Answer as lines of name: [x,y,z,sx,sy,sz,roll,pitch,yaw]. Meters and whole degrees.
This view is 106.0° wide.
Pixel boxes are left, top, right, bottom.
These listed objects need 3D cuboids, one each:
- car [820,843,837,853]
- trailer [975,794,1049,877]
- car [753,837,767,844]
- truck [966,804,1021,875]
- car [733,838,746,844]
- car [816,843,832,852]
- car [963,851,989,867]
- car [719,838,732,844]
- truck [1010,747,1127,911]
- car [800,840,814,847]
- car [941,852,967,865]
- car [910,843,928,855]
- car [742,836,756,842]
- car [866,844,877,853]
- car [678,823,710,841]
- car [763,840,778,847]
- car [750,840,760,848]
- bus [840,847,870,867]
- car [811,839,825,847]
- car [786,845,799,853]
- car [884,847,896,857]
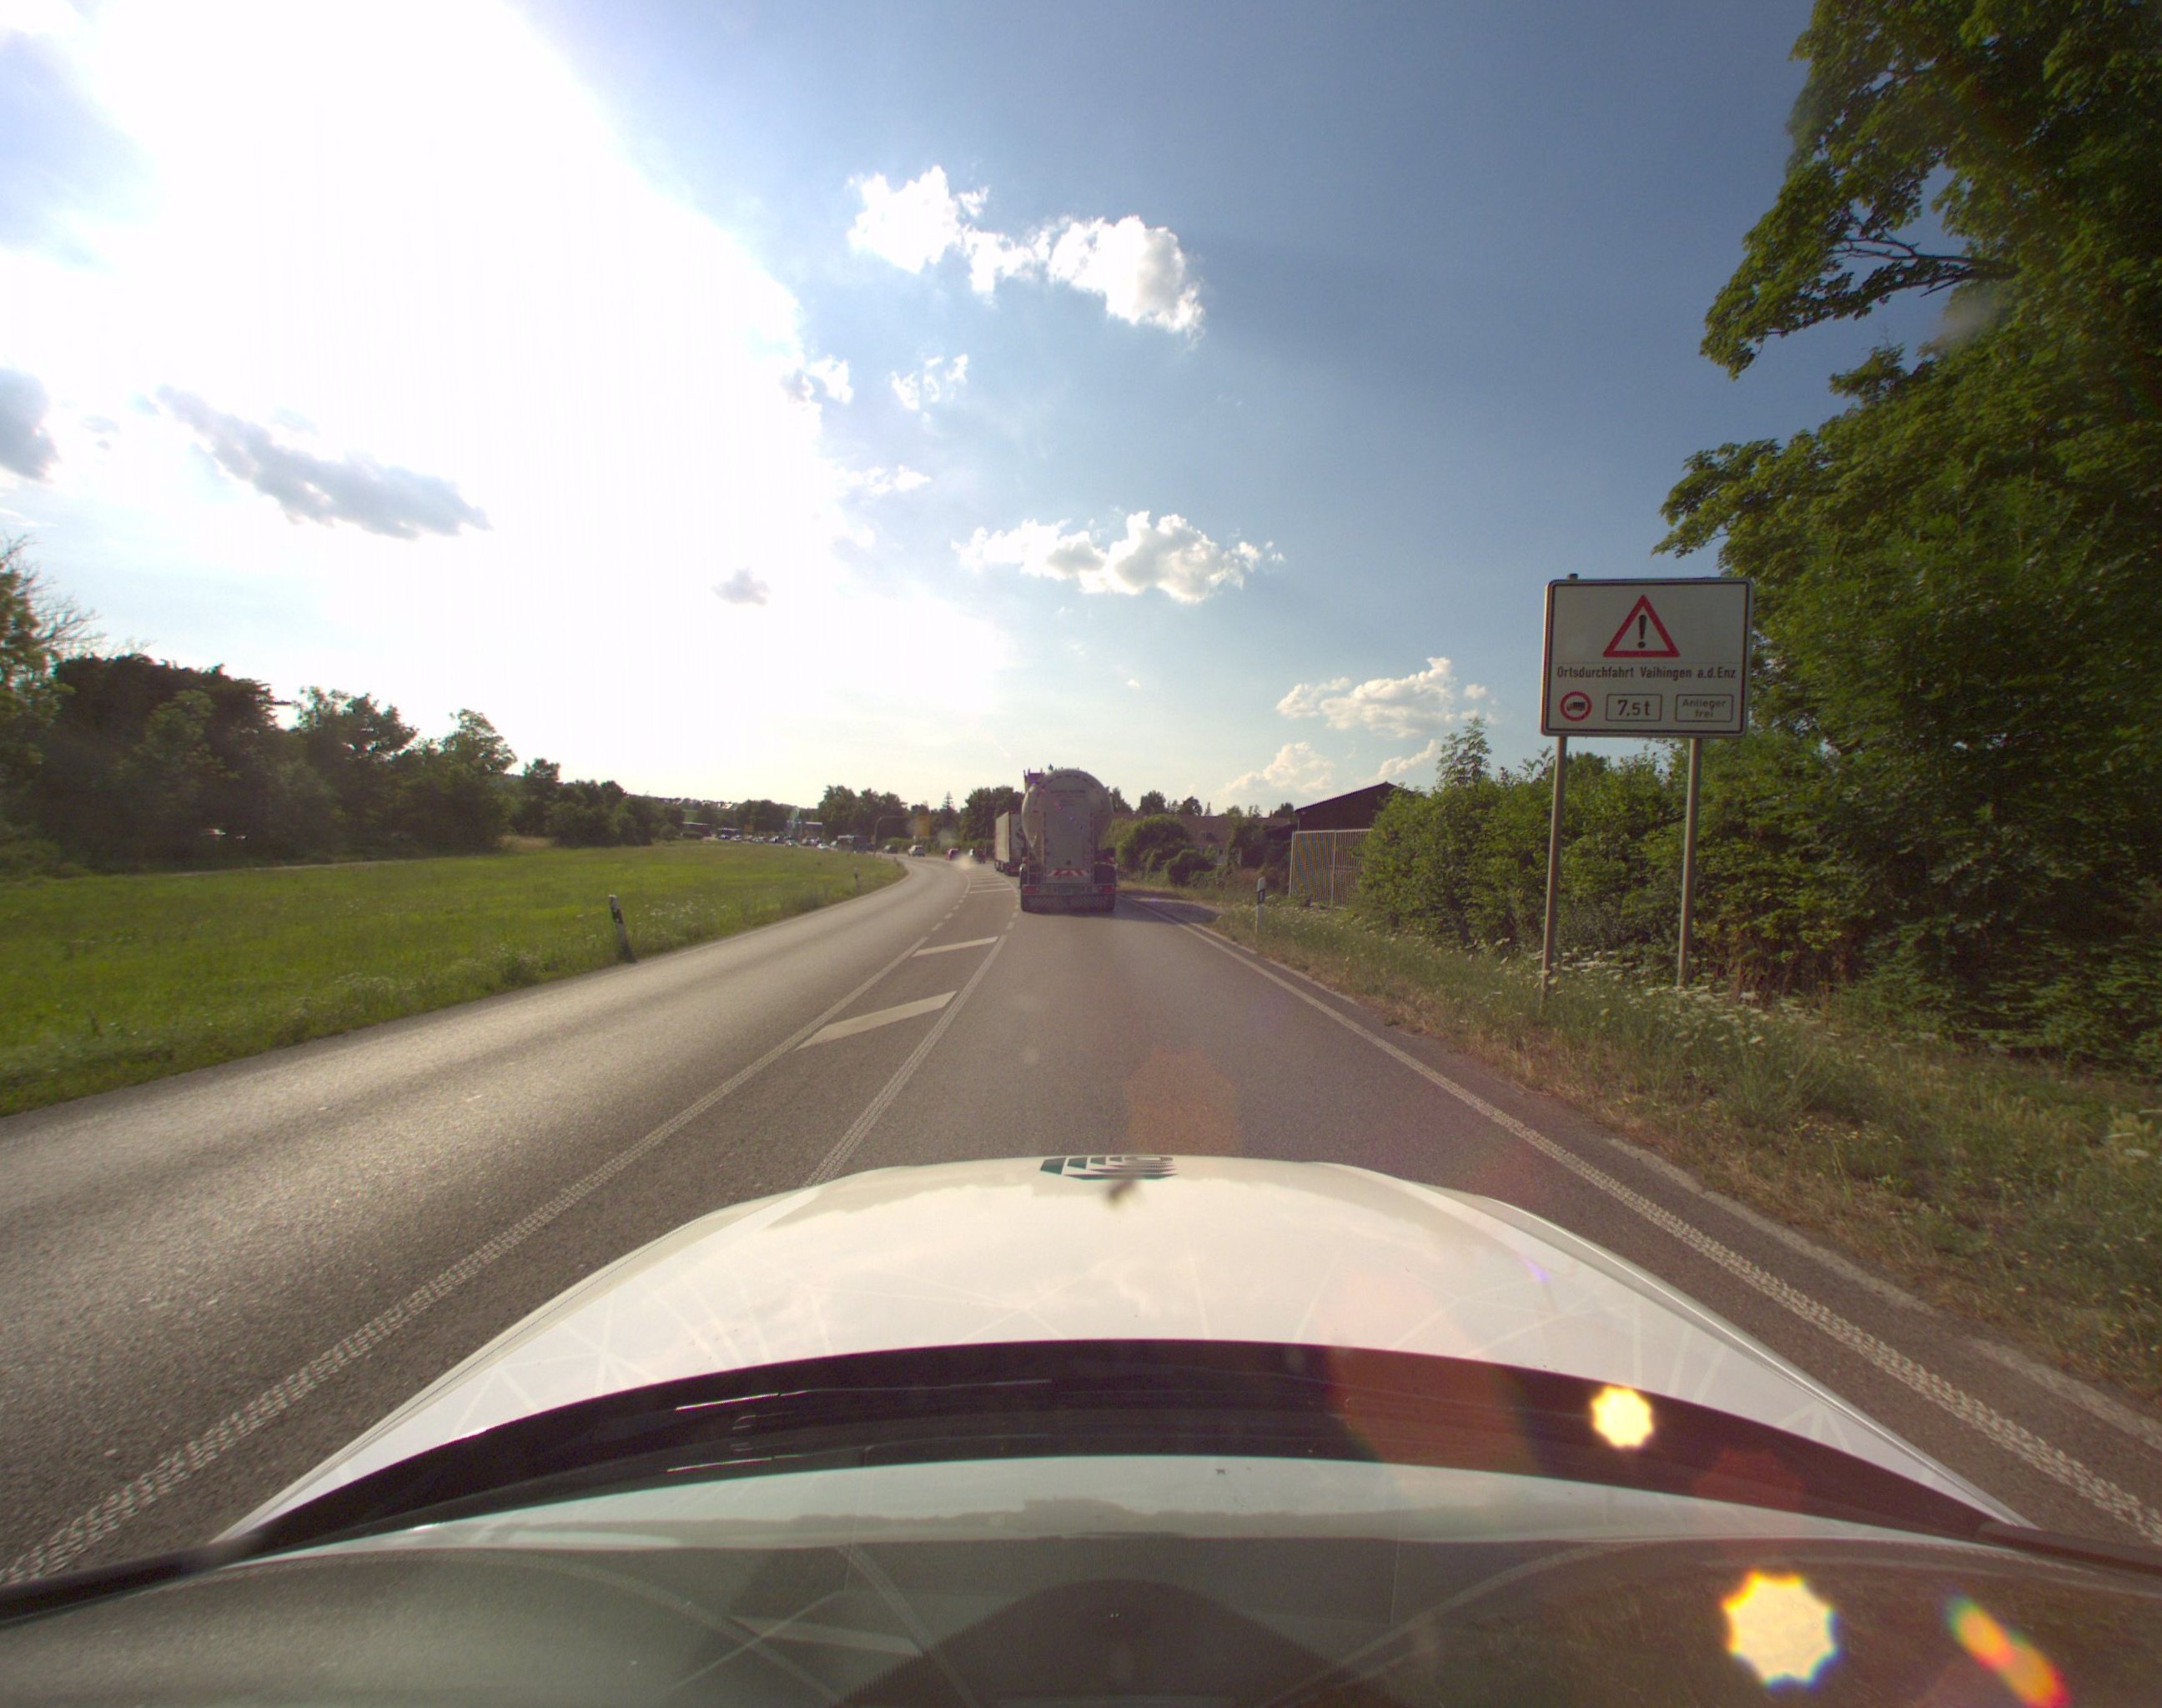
car: [-42.143,-0.959,135.923,1.852,1.656,3.962,1,-1,-29]
trailer: [-4.735,-1.047,53.278,2.970,4.882,10.232,1,-1,-16]
car: [-82.589,-3.478,209.524,3.950,1.599,1.899,1,0,44]
truck: [-6.525,-0.974,59.749,2.968,4.886,6.396,1,-1,-16]
car: [-92.404,-3.460,220.068,1.899,1.599,3.951,1,0,-45]
car: [-48.643,-1.256,154.094,1.854,1.656,3.957,1,-1,-34]
car: [-11.687,0.571,90.655,2.000,1.656,3.972,1,-1,-20]
car: [-97.943,-3.549,224.155,3.950,1.599,1.899,1,0,42]
truck: [-0.649,-0.562,26.628,2.969,4.175,11.646,0,-1,-3]
car: [-63.202,-2.346,187.849,2.101,1.599,3.956,1,0,-36]
car: [-16.684,0.645,106.780,2.310,1.656,4.380,1,-1,-24]
car: [-24.879,-0.756,124.782,1.849,1.656,3.968,1,-1,-24]
car: [-87.287,-4.038,214.171,3.950,1.599,1.899,1,0,44]
car: [-39.659,-1.079,153.818,1.525,1.656,3.844,1,-1,-21]
car: [-111.982,-6.217,235.650,13.076,5.059,3.574,1,0,43]
car: [-77.862,-2.628,204.280,3.950,1.599,2.104,1,0,44]
car: [-77.292,-2.367,193.018,1.852,1.656,3.962,1,-1,-29]
bus: [-37.126,0.553,133.556,2.808,3.181,12.025,1,-1,-25]
car: [-58.476,-2.428,180.959,2.098,1.599,3.961,1,0,-31]
car: [-62.340,-1.046,175.923,1.852,1.656,3.962,1,-1,-29]
car: [-33.199,-0.344,141.393,1.525,1.656,3.844,1,-1,-21]
